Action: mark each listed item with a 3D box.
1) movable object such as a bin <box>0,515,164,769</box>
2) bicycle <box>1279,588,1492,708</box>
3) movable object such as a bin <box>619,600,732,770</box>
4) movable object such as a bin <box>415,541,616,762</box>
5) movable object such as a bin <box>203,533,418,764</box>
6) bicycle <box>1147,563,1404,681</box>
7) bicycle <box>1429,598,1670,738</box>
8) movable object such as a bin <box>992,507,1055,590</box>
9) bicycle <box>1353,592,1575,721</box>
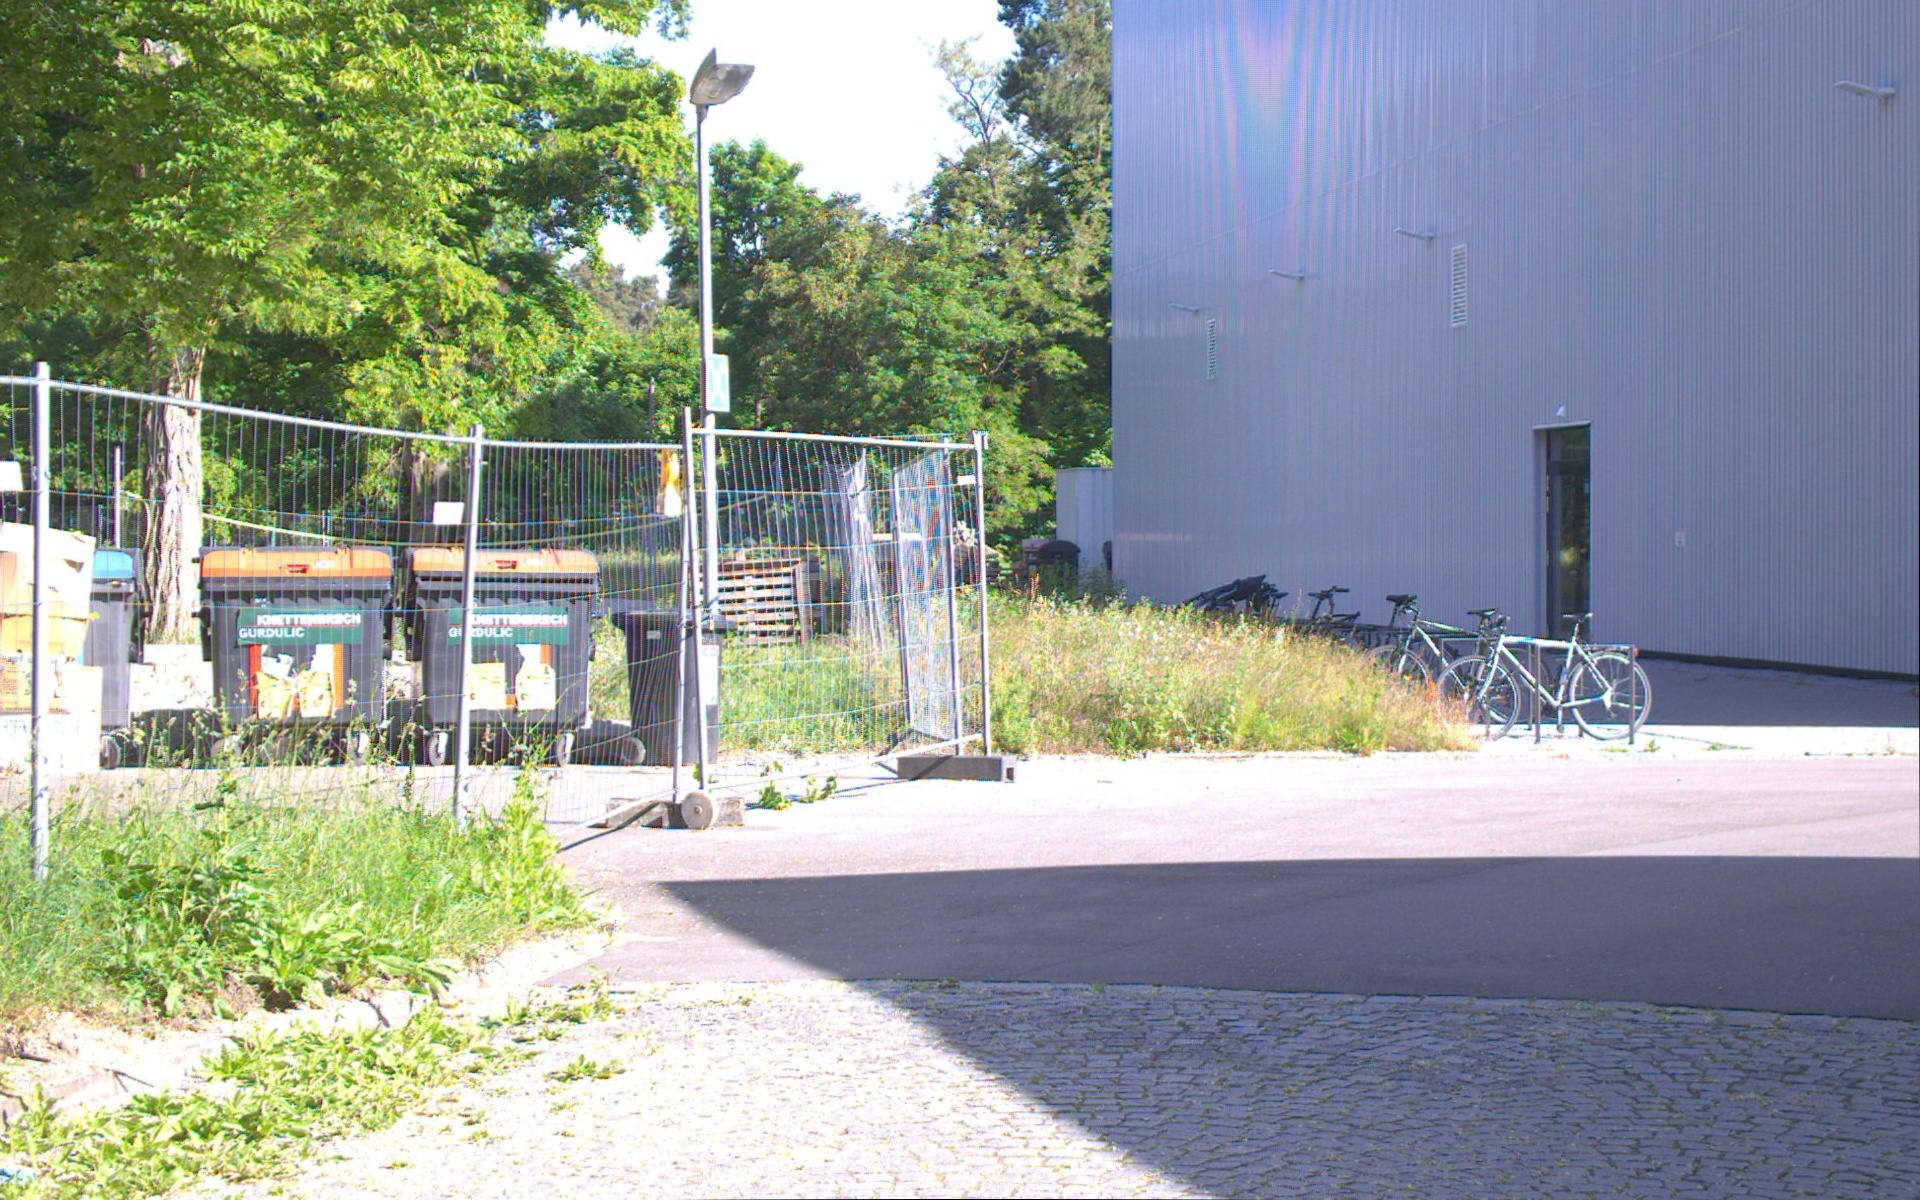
[{"bbox_3d":[-6.280,0.251,22.005,2.287,1.586,1.175,0,1,-14],"label":"movable object such as a bin"},{"bbox_3d":[3.935,0.437,31.827,1.887,1.091,0.526,0,0,-10],"label":"bicycle"},{"bbox_3d":[-1.894,0.552,22.858,0.736,1.094,0.819,0,1,-5],"label":"movable object such as a bin"},{"bbox_3d":[-2.958,0.329,22.834,1.244,1.439,0.703,0,1,-14],"label":"movable object such as a bin"},{"bbox_3d":[-4.276,0.303,22.602,1.337,1.479,0.807,0,1,-15],"label":"movable object such as a bin"},{"bbox_3d":[3.417,0.230,37.434,2.630,1.262,1.141,0,1,-4],"label":"bicycle"},{"bbox_3d":[4.585,0.519,26.742,1.799,1.058,0.459,0,1,-13],"label":"bicycle"},{"bbox_3d":[1.533,-1.259,83.559,1.418,2.007,1.125,0,1,-4],"label":"movable object such as a bin"},{"bbox_3d":[4.294,0.479,29.299,1.791,1.079,0.525,0,1,-7],"label":"bicycle"}]
